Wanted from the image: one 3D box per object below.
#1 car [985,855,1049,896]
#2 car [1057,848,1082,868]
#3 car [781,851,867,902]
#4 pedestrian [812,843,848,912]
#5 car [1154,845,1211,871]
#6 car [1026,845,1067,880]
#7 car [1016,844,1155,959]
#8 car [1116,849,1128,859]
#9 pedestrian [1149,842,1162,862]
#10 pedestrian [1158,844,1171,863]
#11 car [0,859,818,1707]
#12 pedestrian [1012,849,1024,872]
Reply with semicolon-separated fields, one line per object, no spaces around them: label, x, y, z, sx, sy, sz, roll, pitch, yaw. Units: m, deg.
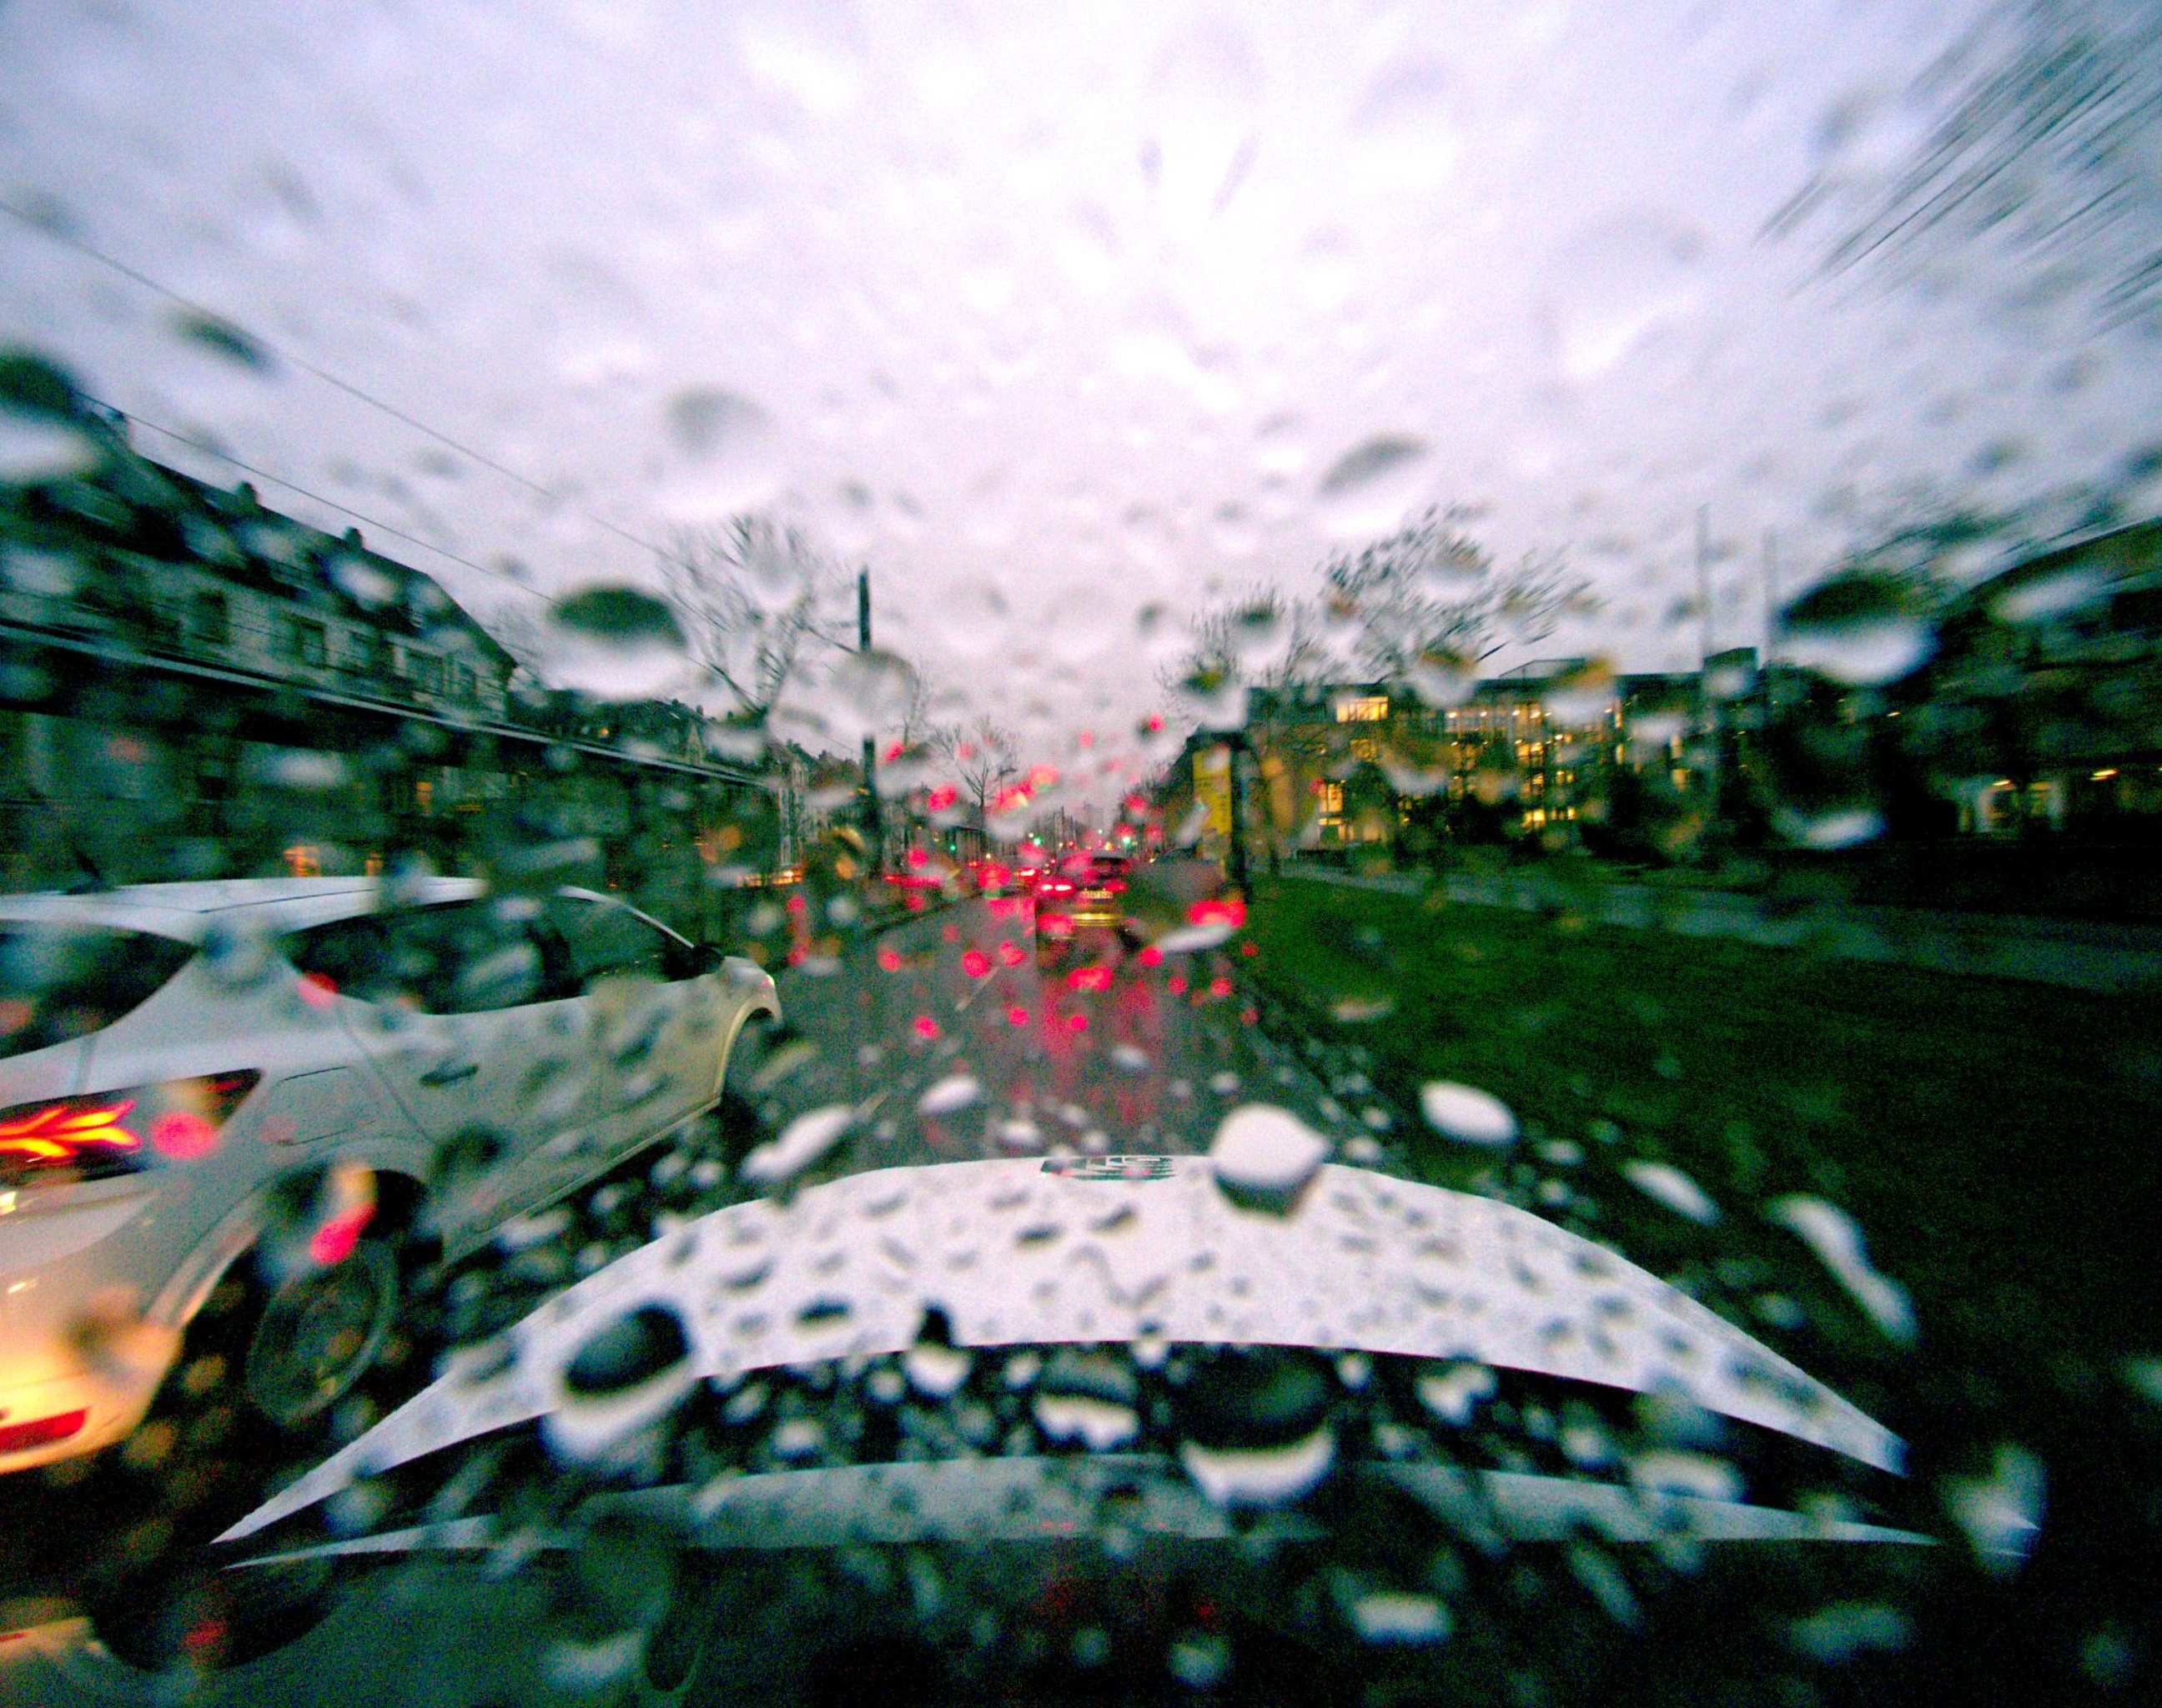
car;-2.450;0.777;31.944;1.986;1.398;4.002;-3;0;2
car;-0.988;0.301;71.279;1.987;1.618;4.001;-3;0;1
car;-10.185;0.842;32.570;1.986;1.823;4.001;-3;0;1
pedestrian;-6.075;0.558;19.750;0.710;1.606;0.745;-1;-1;-8
car;7.265;0.270;58.446;3.845;1.560;1.766;-5;0;2
car;-1.911;0.452;45.991;1.986;1.765;4.001;-3;0;1
car;0.107;0.686;14.054;1.984;1.616;4.001;-3;0;1
car;7.141;-0.062;141.503;1.986;1.598;4.001;-3;0;1
pedestrian;6.216;-0.172;67.829;0.893;1.596;0.505;-3;0;43
pedestrian;7.147;-0.074;69.979;0.893;1.596;0.505;-3;0;43
car;-2.658;0.838;3.497;1.620;1.487;4.001;-3;1;1
pedestrian;-4.352;0.429;55.952;0.696;1.552;0.669;-3;0;1
